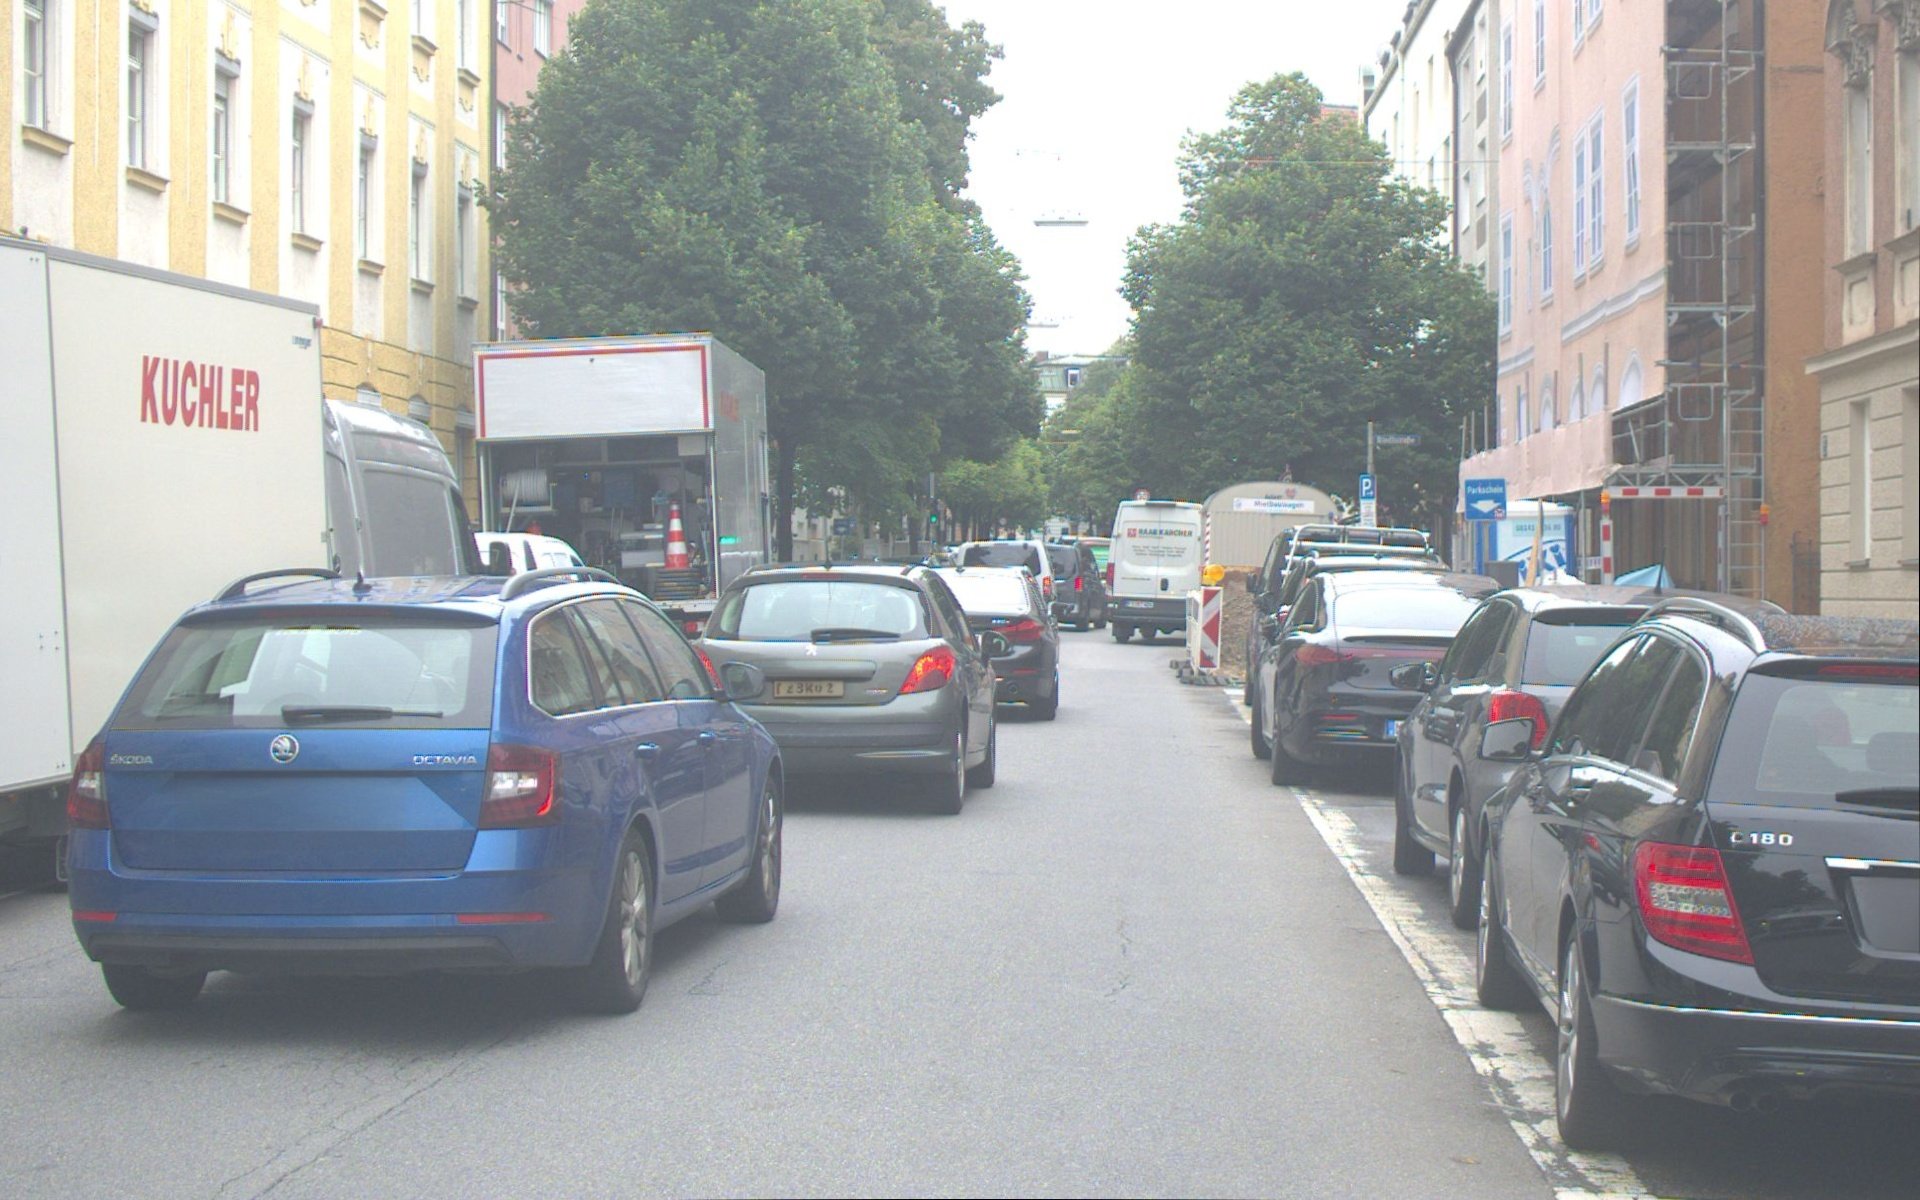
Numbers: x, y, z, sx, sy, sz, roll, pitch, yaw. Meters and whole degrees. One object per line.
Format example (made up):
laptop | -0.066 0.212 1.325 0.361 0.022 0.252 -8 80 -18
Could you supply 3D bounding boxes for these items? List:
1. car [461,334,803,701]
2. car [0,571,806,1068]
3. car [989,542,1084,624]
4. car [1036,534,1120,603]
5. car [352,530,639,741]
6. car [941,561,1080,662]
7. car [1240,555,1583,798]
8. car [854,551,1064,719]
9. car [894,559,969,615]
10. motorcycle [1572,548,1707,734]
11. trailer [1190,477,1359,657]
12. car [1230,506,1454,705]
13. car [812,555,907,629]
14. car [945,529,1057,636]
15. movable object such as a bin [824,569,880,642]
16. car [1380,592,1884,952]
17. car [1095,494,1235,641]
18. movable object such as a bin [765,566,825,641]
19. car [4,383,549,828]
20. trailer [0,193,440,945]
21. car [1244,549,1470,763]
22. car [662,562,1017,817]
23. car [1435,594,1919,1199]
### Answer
car | -3.610 -0.885 40.085 2.813 3.804 8.723 0 0 2
car | -1.792 0.625 12.322 1.789 1.455 4.313 0 0 7
car | 1.672 -0.395 73.492 1.867 1.647 4.347 2 1 3
car | 3.010 -0.823 87.113 2.008 1.647 4.347 2 1 3
car | -4.202 0.289 31.769 1.763 1.773 4.326 -1 0 4
car | 0.791 0.134 50.693 1.867 1.343 4.347 2 1 3
car | 3.174 0.462 25.245 1.931 1.548 5.636 1 1 2
car | 0.056 0.287 33.421 1.867 1.449 4.347 2 1 2
car | -0.772 -0.379 95.590 1.812 1.473 4.000 1 1 3
motorcycle | 5.694 0.320 28.910 0.871 1.499 1.997 1 1 5
trailer | 5.287 -0.541 58.743 2.502 2.830 6.900 2 0 3
car | 3.985 0.128 36.619 2.083 1.914 5.139 2 -2 4
car | -2.097 -0.190 72.856 1.812 1.473 4.000 1 1 1
car | 0.796 -0.357 63.466 1.867 1.863 4.347 2 1 3
movable object such as a bin | -2.078 0.101 66.127 1.020 1.372 1.103 -2 1 -1
car | 2.867 0.665 15.466 1.572 1.390 4.182 0 0 2
car | 3.975 -0.603 65.914 2.113 2.654 5.498 2 0 9
movable object such as a bin | -3.115 0.062 64.996 1.081 1.372 1.084 -2 1 -1
car | -4.573 -0.004 24.353 2.056 2.578 6.876 -4 1 2
trailer | -4.903 -0.150 16.859 2.804 2.959 7.598 -3 1 5
car | 3.459 0.454 30.624 1.694 1.671 4.407 3 0 4
car | -0.650 0.490 21.077 1.741 1.417 3.663 0 0 5
car | 2.559 0.712 10.259 1.847 1.400 4.787 1 1 3
